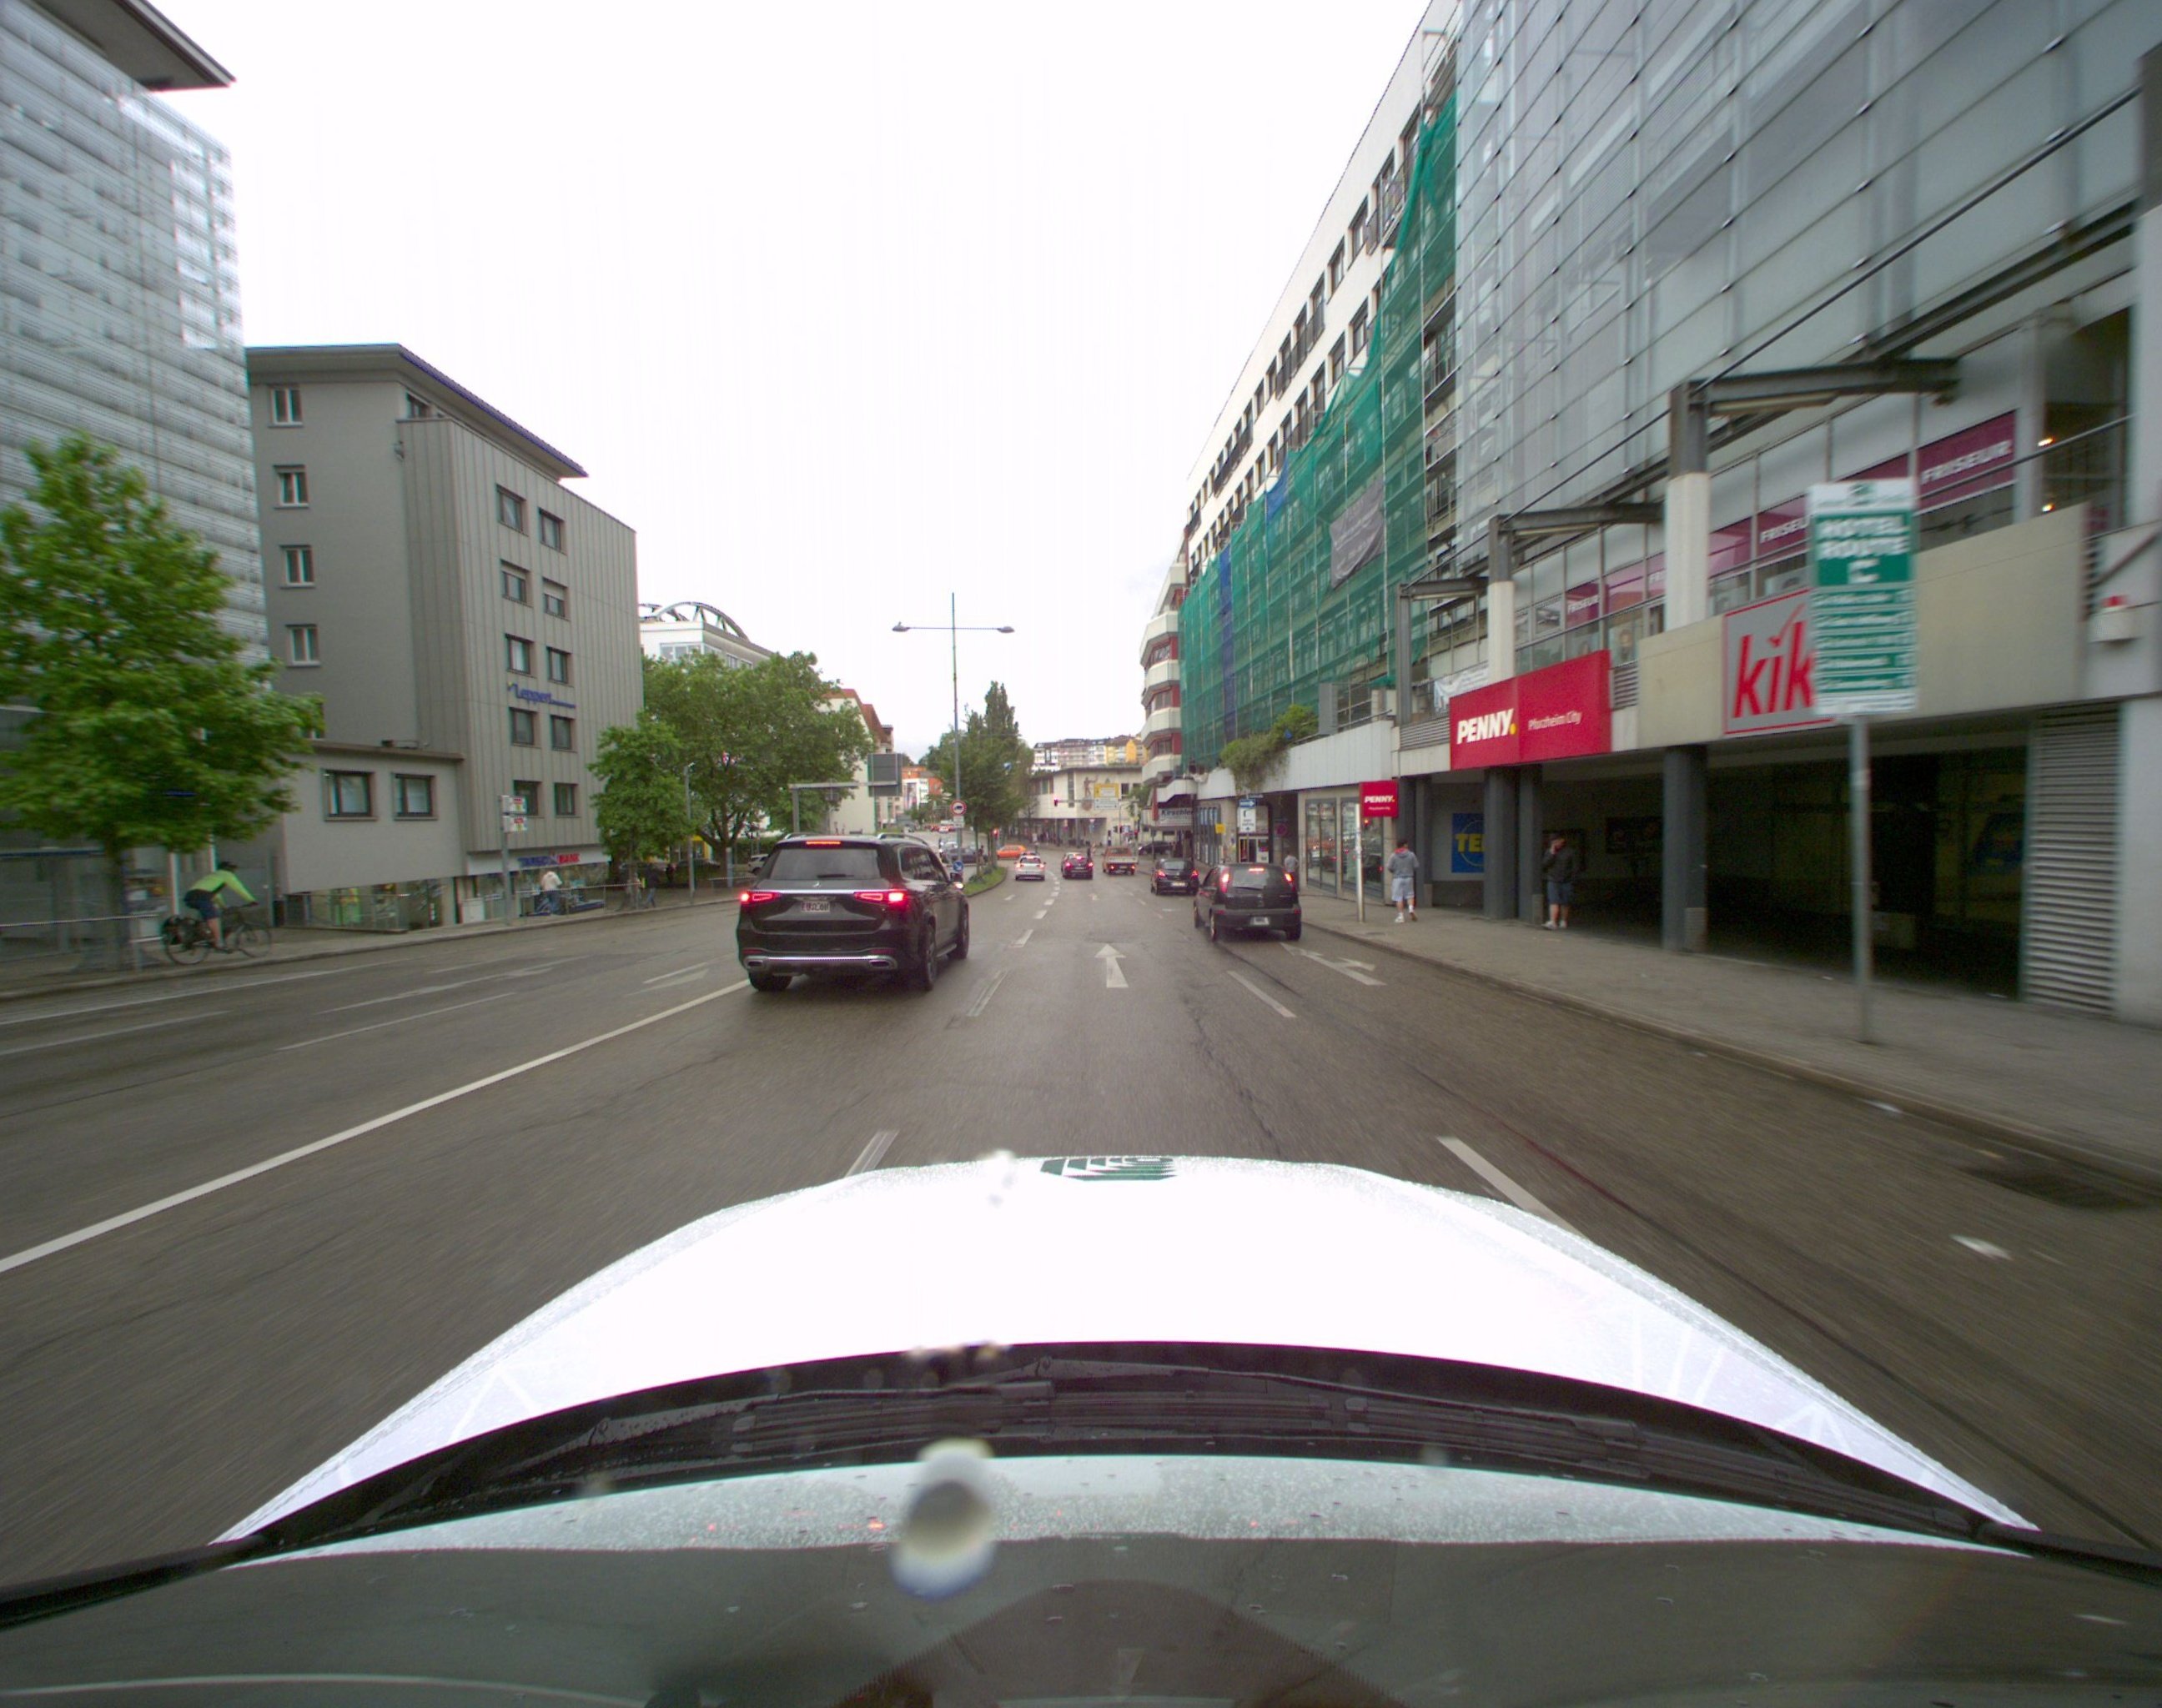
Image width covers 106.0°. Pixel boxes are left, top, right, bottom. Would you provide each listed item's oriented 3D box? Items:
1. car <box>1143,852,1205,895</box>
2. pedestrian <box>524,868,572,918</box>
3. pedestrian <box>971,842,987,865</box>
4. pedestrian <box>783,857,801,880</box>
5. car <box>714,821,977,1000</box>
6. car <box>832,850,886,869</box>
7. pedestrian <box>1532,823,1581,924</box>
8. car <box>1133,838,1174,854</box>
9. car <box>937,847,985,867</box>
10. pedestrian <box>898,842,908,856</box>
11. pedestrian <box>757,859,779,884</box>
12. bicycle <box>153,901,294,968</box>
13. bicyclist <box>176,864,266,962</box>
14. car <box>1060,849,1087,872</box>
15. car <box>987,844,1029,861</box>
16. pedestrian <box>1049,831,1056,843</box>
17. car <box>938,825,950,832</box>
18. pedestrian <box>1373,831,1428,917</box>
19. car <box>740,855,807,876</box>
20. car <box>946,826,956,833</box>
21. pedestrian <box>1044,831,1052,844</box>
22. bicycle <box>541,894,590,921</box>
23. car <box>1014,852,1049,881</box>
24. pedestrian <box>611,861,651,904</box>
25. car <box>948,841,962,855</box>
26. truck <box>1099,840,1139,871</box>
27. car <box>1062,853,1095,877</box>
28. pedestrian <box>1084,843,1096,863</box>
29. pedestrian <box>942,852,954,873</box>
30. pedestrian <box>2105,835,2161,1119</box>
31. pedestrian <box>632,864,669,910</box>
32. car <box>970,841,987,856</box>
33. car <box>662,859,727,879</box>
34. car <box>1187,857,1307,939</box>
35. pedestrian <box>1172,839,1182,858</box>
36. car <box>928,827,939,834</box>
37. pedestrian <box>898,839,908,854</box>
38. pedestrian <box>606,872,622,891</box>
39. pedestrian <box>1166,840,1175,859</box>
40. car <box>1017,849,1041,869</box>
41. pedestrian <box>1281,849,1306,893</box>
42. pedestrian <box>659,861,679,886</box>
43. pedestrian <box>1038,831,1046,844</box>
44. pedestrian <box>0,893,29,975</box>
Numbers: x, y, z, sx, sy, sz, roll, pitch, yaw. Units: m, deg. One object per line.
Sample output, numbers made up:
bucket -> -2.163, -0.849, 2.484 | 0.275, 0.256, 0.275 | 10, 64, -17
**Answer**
car -> 3.710, 0.729, 33.138 | 1.945, 1.574, 3.997 | -1, 0, -2
pedestrian -> -19.237, 1.393, 29.410 | 0.991, 1.722, 1.037 | -2, 0, -5
pedestrian -> -8.388, -0.036, 67.090 | 1.058, 1.882, 0.839 | -2, 0, 5
pedestrian -> -22.074, 1.127, 62.217 | 0.943, 1.722, 0.762 | -2, 0, 9
car -> -2.714, 0.567, 10.745 | 2.081, 1.817, 4.791 | 1, 0, -1
car -> -20.191, 0.480, 74.263 | 4.692, 1.643, 1.777 | 0, 0, -16
pedestrian -> 8.287, 0.327, 14.216 | 0.662, 1.715, 0.823 | -2, 0, 30
car -> 7.625, -0.824, 85.697 | 3.825, 1.616, 1.765 | -1, 0, -17
car -> -10.831, 0.289, 73.405 | 4.152, 1.657, 1.833 | -1, 0, -13
pedestrian -> -20.866, -0.565, 95.234 | 0.931, 1.608, 0.557 | -3, 0, -43
pedestrian -> -22.960, 1.251, 59.714 | 0.940, 1.722, 1.021 | -3, 2, 25
bicycle -> -16.873, 1.545, 16.110 | 0.677, 1.099, 2.067 | -2, 0, -5
bicyclist -> -16.885, 1.124, 16.012 | 0.667, 1.830, 0.989 | -3, 0, -5
car -> -0.622, 0.440, 61.201 | 1.757, 1.542, 3.994 | -1, 1, -4
car -> -7.435, -0.118, 82.307 | 4.002, 1.616, 1.767 | -1, 0, -14
pedestrian -> -4.173, -2.510, 119.754 | 0.704, 1.802, 0.933 | -3, 0, -16
car -> -30.569, -5.684, 181.373 | 1.999, 1.596, 3.977 | -1, 0, -17
pedestrian -> 6.585, 0.399, 16.834 | 0.831, 1.722, 0.831 | -2, 0, 7
car -> -26.264, 0.959, 69.700 | 5.078, 1.759, 1.991 | 0, 0, -14
car -> -30.675, -5.771, 191.833 | 1.835, 1.588, 3.853 | -1, 0, -16
pedestrian -> -4.729, -2.424, 118.108 | 0.848, 1.802, 1.050 | -3, 0, -16
bicycle -> -24.129, 2.493, 38.188 | 0.610, 1.087, 2.669 | -1, 0, -2
car -> -2.926, 0.724, 49.160 | 1.944, 1.574, 3.998 | -1, 0, -1
pedestrian -> -19.080, 1.203, 34.550 | 0.968, 1.722, 1.092 | -2, 0, 5
car -> -16.540, -0.764, 106.671 | 1.705, 1.720, 3.986 | -1, 0, -10
truck -> 2.665, 0.110, 58.824 | 2.180, 2.082, 5.594 | -1, 0, -5
car -> -0.201, 0.670, 52.192 | 1.809, 1.441, 3.993 | 0, 1, -6
pedestrian -> 0.793, -0.080, 71.051 | 1.006, 1.722, 0.839 | -2, 0, 3
pedestrian -> -11.170, 0.682, 68.394 | 0.832, 1.722, 0.819 | -2, 0, 2
pedestrian -> 5.823, 0.613, 3.997 | 0.742, 1.437, 0.598 | -4, 0, 7
pedestrian -> -16.813, 1.261, 31.829 | 0.815, 1.713, 1.309 | -2, 0, -8
car -> -11.794, -0.634, 93.468 | 1.818, 1.549, 3.992 | -1, 0, -6
car -> -33.346, 1.312, 70.383 | 4.705, 1.591, 1.991 | -1, 0, -14
car -> 3.162, 0.782, 16.199 | 1.710, 1.420, 3.772 | 0, 0, 2
pedestrian -> 8.608, -0.473, 73.131 | 0.577, 1.699, 0.647 | -3, 0, -16
car -> -35.761, -5.786, 197.049 | 1.757, 1.554, 3.540 | -1, 0, -24
pedestrian -> -21.159, -0.872, 96.729 | 0.911, 1.802, 0.620 | -3, 0, -43
pedestrian -> -33.165, 1.930, 57.853 | 0.954, 1.272, 0.753 | -3, 0, -28
pedestrian -> 7.999, -0.412, 72.811 | 0.576, 1.699, 0.648 | -3, 0, -12
car -> -4.089, 0.374, 63.354 | 1.791, 1.468, 3.994 | -1, 1, -4
pedestrian -> 8.012, 0.642, 30.743 | 0.635, 1.649, 0.566 | -4, -1, 40
pedestrian -> -28.900, 1.367, 57.142 | 0.752, 1.722, 0.955 | -2, 0, 11
pedestrian -> -5.678, -2.390, 118.827 | 0.800, 1.802, 0.913 | -3, 0, -16
pedestrian -> -19.844, 1.460, 14.655 | 0.649, 1.456, 0.846 | -2, 0, 5
